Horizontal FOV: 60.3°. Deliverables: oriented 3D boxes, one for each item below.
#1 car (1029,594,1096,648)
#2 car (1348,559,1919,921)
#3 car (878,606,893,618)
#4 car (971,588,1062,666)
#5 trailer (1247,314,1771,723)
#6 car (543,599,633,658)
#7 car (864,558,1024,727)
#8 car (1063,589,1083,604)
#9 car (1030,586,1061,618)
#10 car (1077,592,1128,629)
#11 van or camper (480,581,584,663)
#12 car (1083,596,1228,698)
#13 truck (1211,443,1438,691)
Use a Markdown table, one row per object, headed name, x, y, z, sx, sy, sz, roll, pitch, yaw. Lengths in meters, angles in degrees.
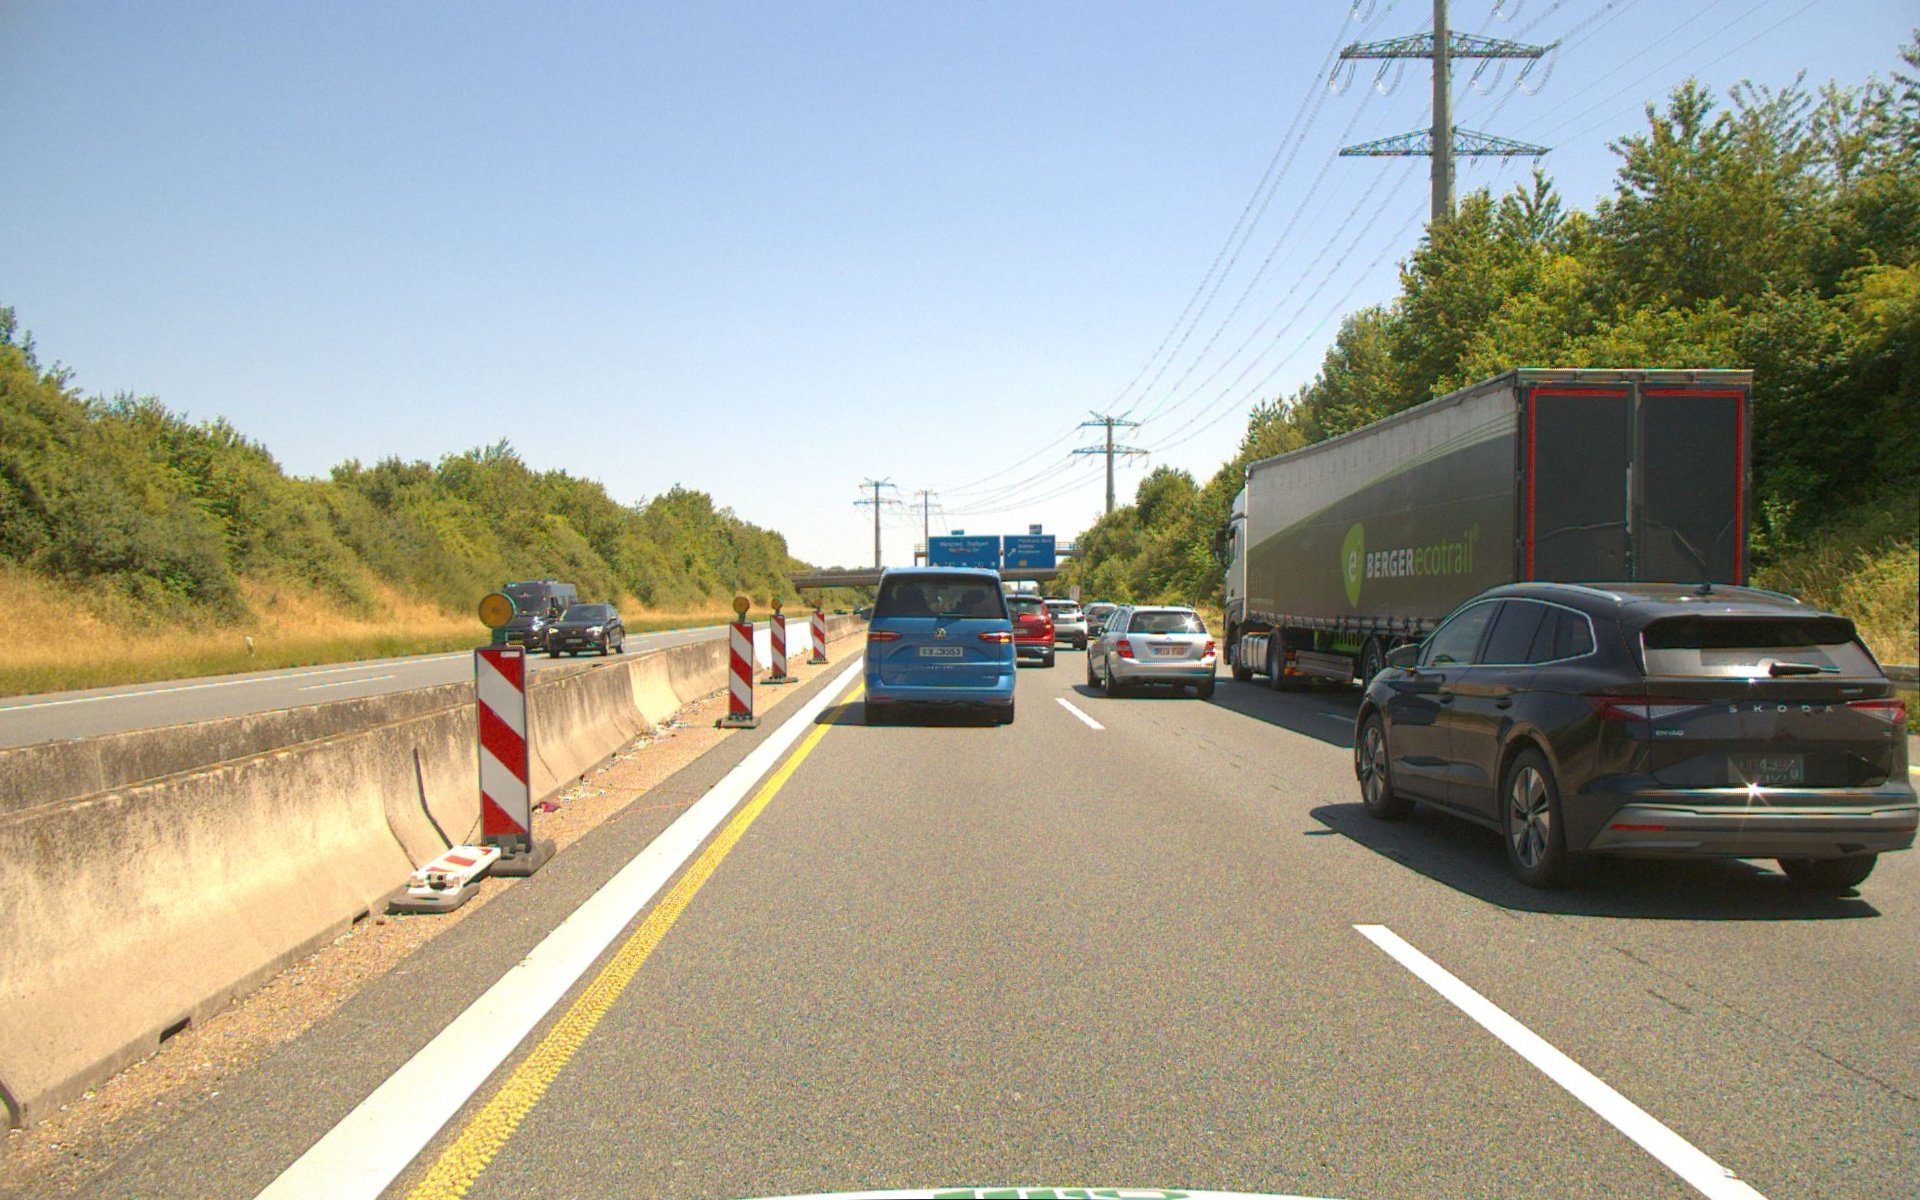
| name | x | y | z | sx | sy | sz | roll | pitch | yaw |
| --- | --- | --- | --- | --- | --- | --- | --- | --- | --- |
| car | 3.226 | 0.664 | 52.883 | 1.761 | 1.622 | 4.226 | 1 | 0 | -1 |
| car | 3.798 | 0.674 | 10.038 | 1.666 | 1.684 | 4.427 | 1 | 0 | -2 |
| car | -9.767 | 1.591 | 216.781 | 1.824 | 1.516 | 4.492 | -1 | 0 | -1 |
| car | 1.274 | 0.611 | 38.996 | 1.837 | 1.700 | 4.358 | 1 | 0 | -2 |
| trailer | 6.760 | -0.806 | 23.458 | 2.727 | 4.118 | 13.107 | 1 | 0 | -1 |
| car | -11.705 | 0.865 | 52.279 | 1.953 | 1.713 | 4.152 | -2 | 0 | -2 |
| car | -0.258 | 0.503 | 21.551 | 1.837 | 1.945 | 4.358 | 1 | 0 | -2 |
| car | 13.629 | -0.414 | 199.521 | 1.837 | 1.700 | 4.358 | 1 | 0 | -2 |
| car | 5.790 | 0.136 | 112.008 | 1.761 | 2.049 | 4.225 | 1 | 0 | -2 |
| car | 5.883 | 0.427 | 68.660 | 1.666 | 1.473 | 3.786 | 1 | 0 | -1 |
| van or camper | -15.801 | 0.781 | 61.556 | 2.178 | 2.758 | 7.077 | -3 | 0 | -2 |
| car | 3.180 | 0.734 | 27.641 | 1.735 | 1.544 | 4.358 | 1 | 0 | -2 |
| truck | 6.574 | -0.541 | 30.711 | 2.678 | 4.118 | 5.791 | 1 | 0 | -2 |
